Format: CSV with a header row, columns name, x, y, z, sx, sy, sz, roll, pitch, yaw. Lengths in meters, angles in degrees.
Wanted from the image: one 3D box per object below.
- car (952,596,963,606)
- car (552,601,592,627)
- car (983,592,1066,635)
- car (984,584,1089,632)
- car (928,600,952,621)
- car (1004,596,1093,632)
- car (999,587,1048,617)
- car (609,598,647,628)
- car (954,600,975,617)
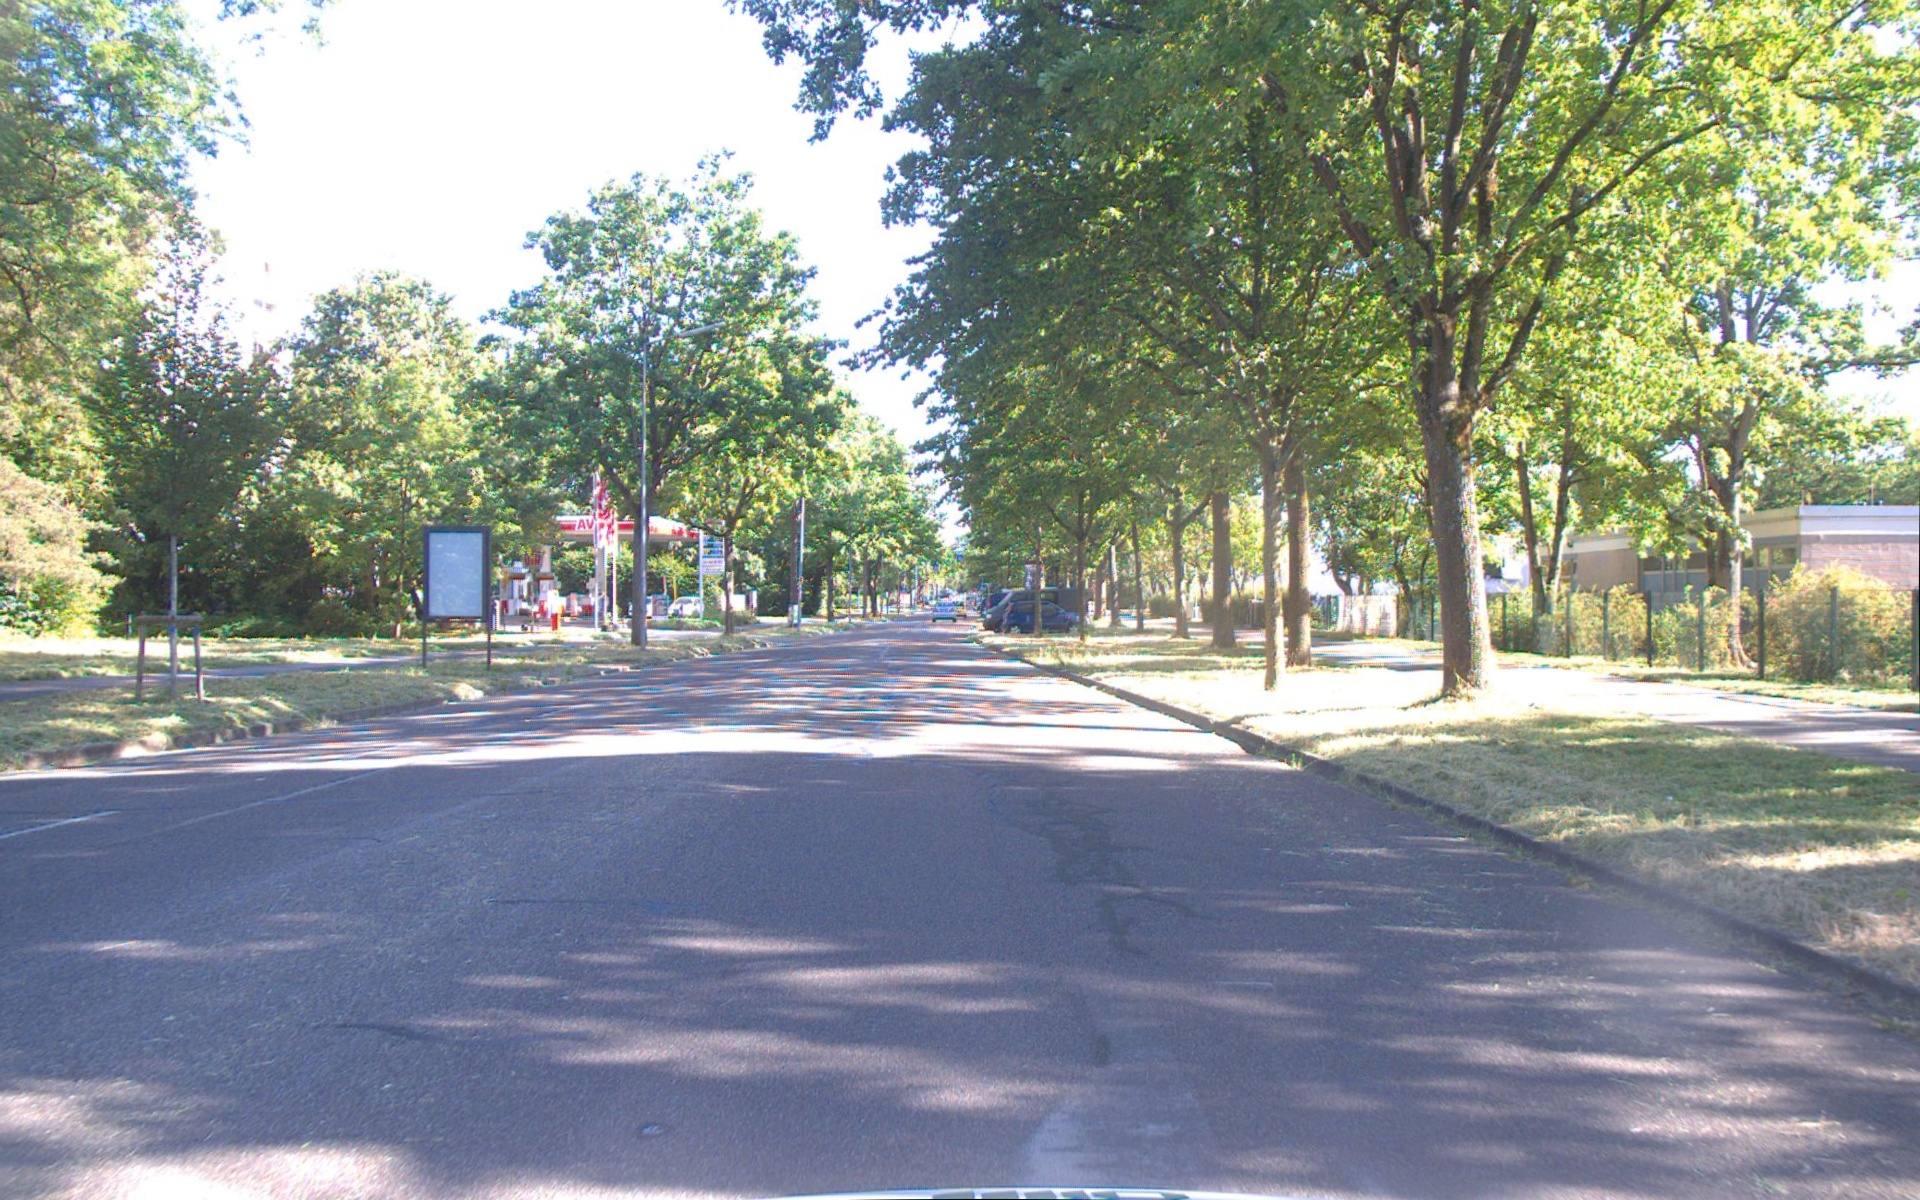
name,x,y,z,sx,sy,sz,roll,pitch,yaw
car,-0.346,0.197,249.749,1.627,1.360,3.664,-1,-1,-1
car,-25.381,0.935,108.267,1.765,1.649,3.803,-1,-1,-2
car,2.839,0.593,73.336,3.578,1.829,1.317,-1,-1,-1
car,3.257,0.341,70.855,4.411,1.987,1.687,-1,-1,-1
car,-1.418,0.748,116.520,1.627,1.360,3.664,-1,-1,-1
car,3.605,0.571,67.875,3.578,1.423,1.317,-1,-1,-1
car,4.575,0.118,119.783,3.494,2.087,1.632,-1,-2,-1
car,-21.219,0.830,105.819,1.765,1.855,3.803,-1,-1,-2
car,0.374,0.717,139.209,1.627,1.360,3.664,-1,-1,-1
